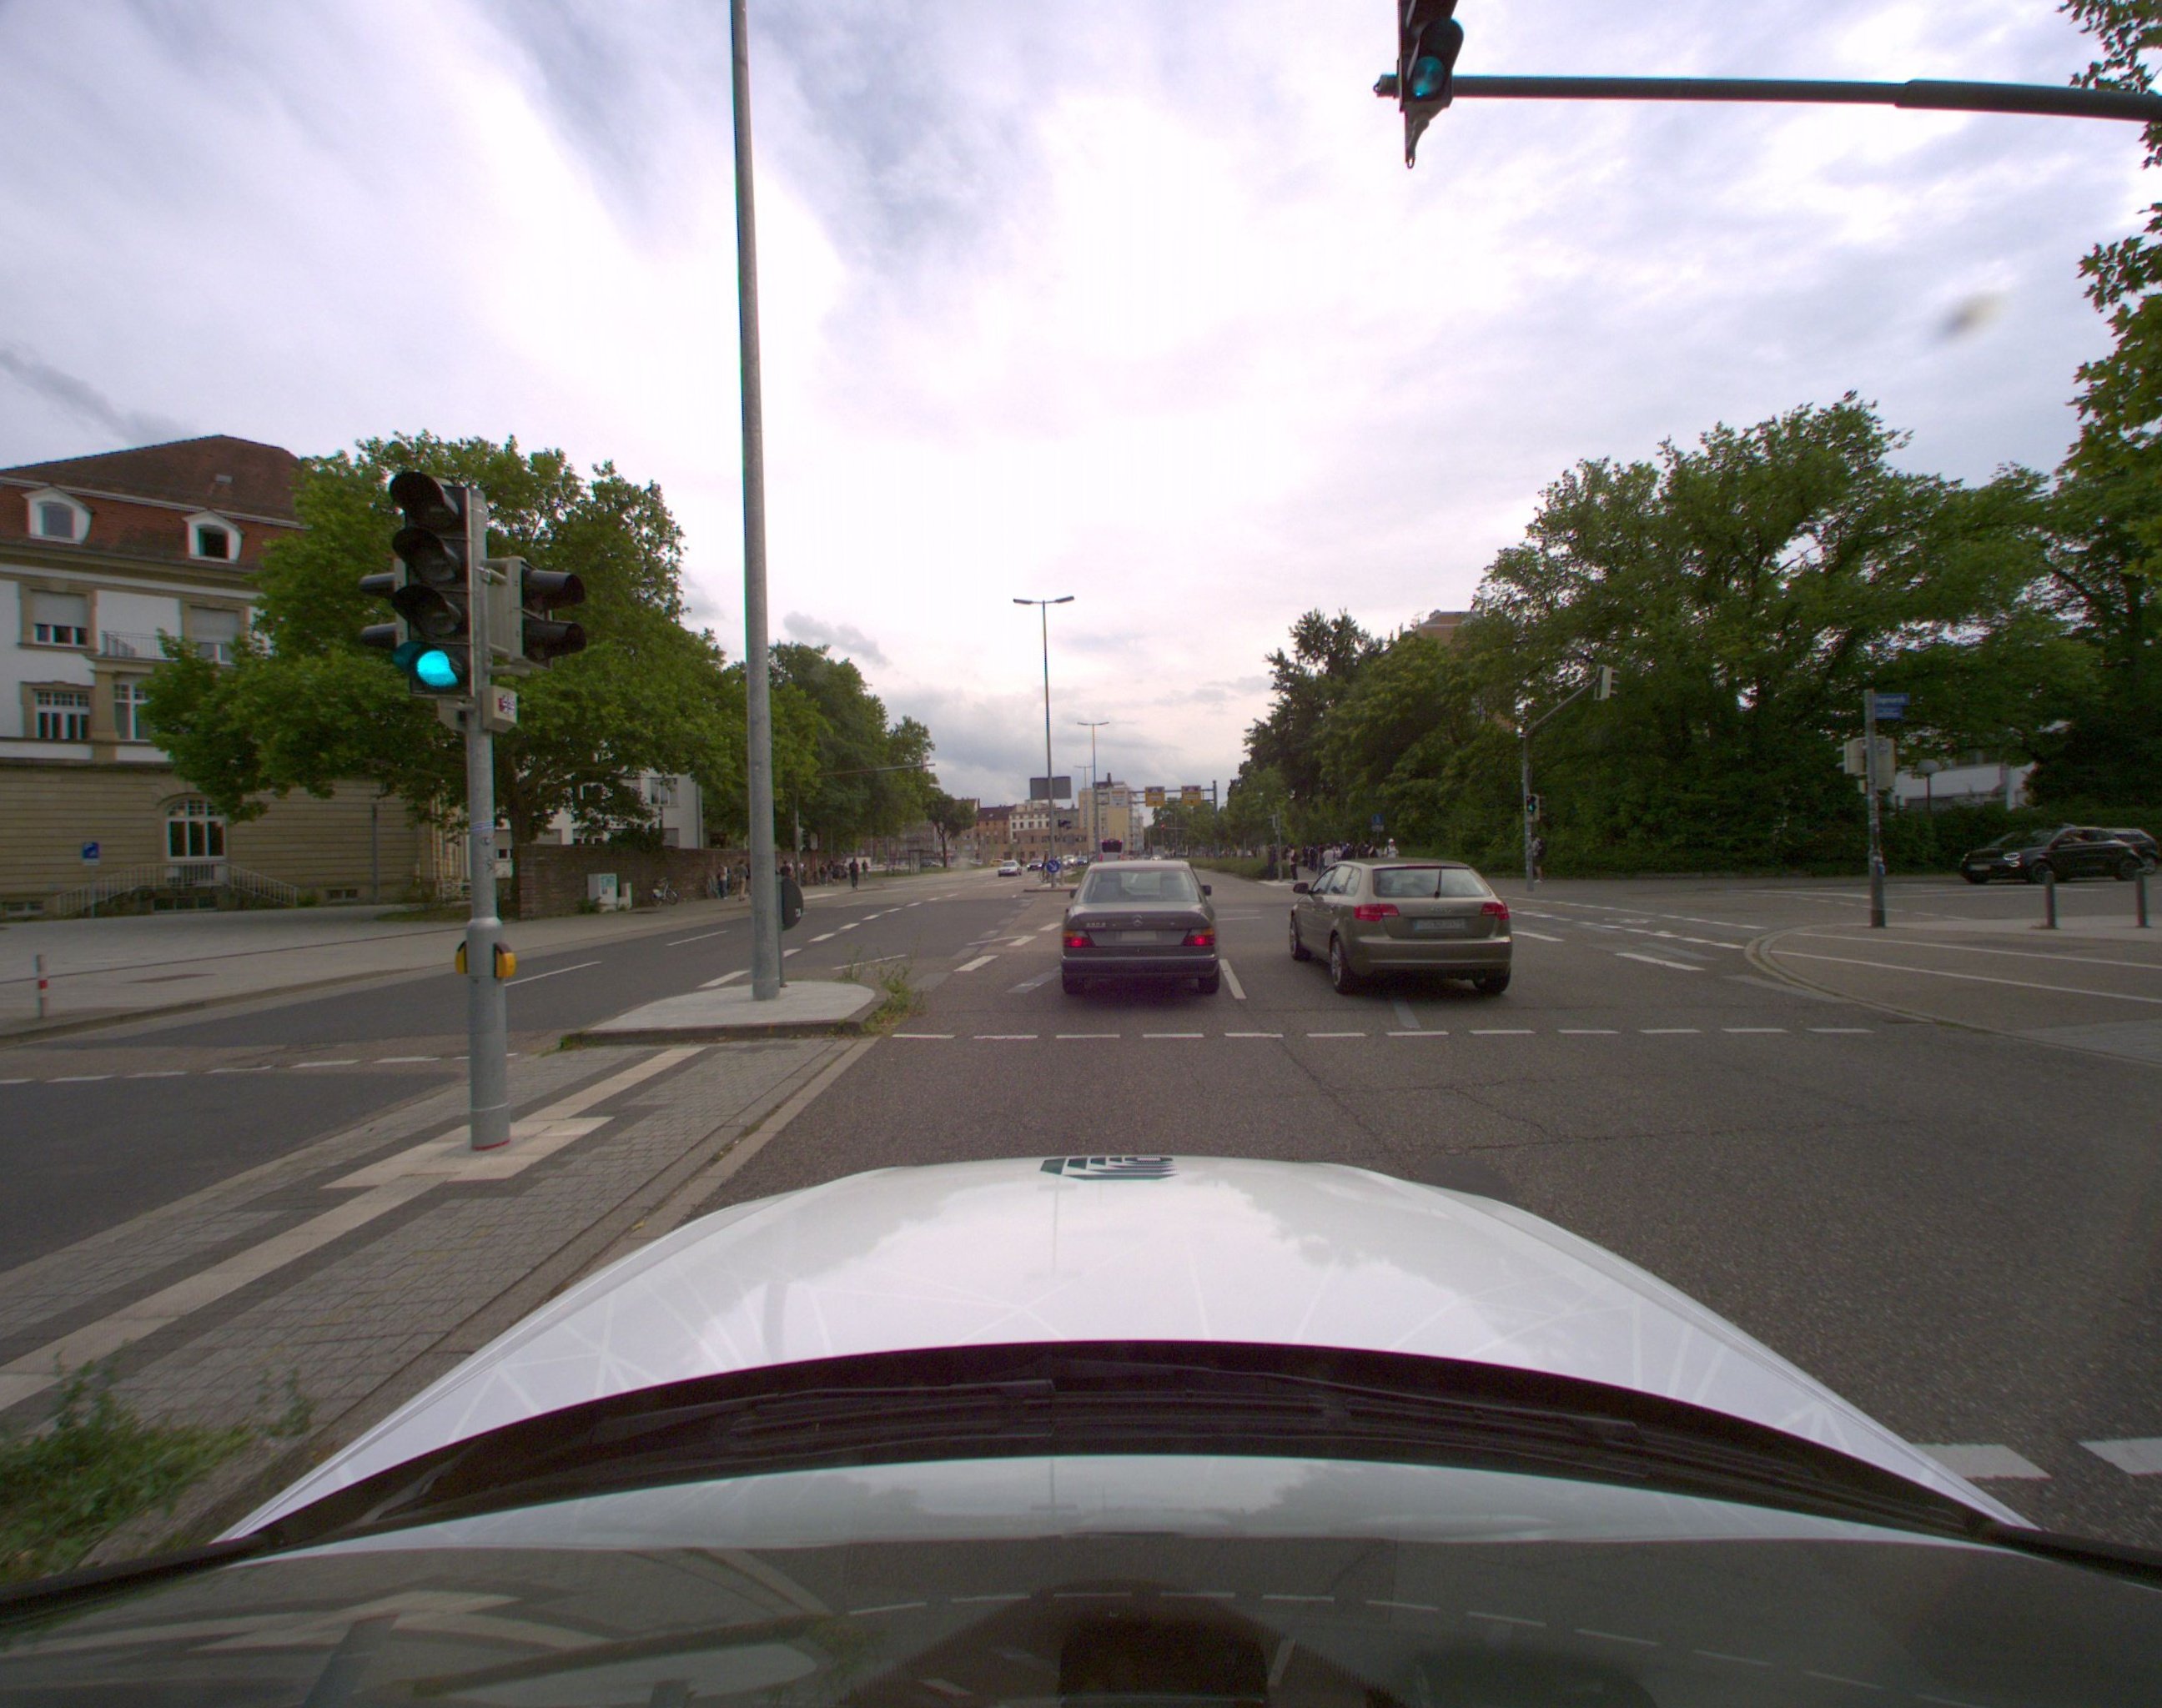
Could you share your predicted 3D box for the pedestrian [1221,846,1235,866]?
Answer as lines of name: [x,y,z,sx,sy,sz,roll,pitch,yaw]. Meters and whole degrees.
pedestrian: [14.165,0.182,78.491,0.925,1.830,0.892,-2,0,31]

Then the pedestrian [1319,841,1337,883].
pedestrian: [10.222,0.336,33.704,0.543,1.687,0.637,-2,0,2]

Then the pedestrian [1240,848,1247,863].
pedestrian: [18.476,0.167,92.605,0.641,1.713,0.564,-2,0,19]

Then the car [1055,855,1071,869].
car: [-2.156,0.935,95.967,1.796,1.489,4.286,-2,0,-1]

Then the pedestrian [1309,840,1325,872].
pedestrian: [13.763,0.097,47.528,0.653,1.821,0.813,-2,0,4]

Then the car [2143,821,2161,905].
car: [21.002,0.095,13.881,3.559,1.491,1.674,-2,-1,0]

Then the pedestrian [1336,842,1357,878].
pedestrian: [13.274,0.302,40.725,0.654,1.766,0.958,-4,0,2]

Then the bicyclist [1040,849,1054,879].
bicyclist: [-1.850,0.544,44.460,0.569,1.574,0.701,-2,0,8]

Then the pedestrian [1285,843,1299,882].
pedestrian: [9.702,0.392,37.423,0.452,1.735,0.637,-2,0,2]

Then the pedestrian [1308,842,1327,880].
pedestrian: [11.288,0.326,38.878,0.654,1.745,0.780,-2,0,2]

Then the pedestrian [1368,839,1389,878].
pedestrian: [13.476,0.196,36.887,0.654,1.745,0.780,-2,0,2]

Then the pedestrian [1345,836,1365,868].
pedestrian: [14.488,-0.096,43.073,0.654,1.667,0.972,-2,0,2]

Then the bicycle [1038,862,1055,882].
bicycle: [-1.876,0.962,44.306,0.570,1.055,1.930,-2,0,8]

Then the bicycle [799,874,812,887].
bicycle: [-18.175,1.726,53.687,0.440,0.797,1.618,0,1,-5]

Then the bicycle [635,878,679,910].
bicycle: [-16.457,1.544,31.669,0.575,1.126,2.164,1,0,0]

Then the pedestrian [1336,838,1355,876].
pedestrian: [12.715,0.145,39.160,0.579,1.745,0.790,-2,0,2]

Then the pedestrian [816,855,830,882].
pedestrian: [-17.114,0.950,54.018,0.762,1.782,0.777,-1,-2,-25]

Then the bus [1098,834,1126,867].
bus: [3.428,-0.347,90.213,2.820,3.390,8.187,-2,0,2]

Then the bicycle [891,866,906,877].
bicycle: [-17.194,1.623,76.810,0.467,0.918,2.347,-2,0,12]

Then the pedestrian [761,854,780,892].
pedestrian: [-14.746,0.907,38.701,0.763,1.782,0.777,-1,-2,-26]

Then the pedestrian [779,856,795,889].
pedestrian: [-16.395,1.049,45.379,0.762,1.782,0.907,-1,-2,-25]

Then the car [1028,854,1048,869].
car: [-5.113,0.887,97.509,1.890,1.616,4.747,-2,0,2]

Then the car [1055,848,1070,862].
car: [-2.852,0.221,124.121,1.933,2.013,4.003,-2,0,3]

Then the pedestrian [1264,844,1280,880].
pedestrian: [9.405,0.409,40.053,0.599,1.735,0.655,-2,0,2]

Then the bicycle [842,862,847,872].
bicycle: [-21.604,1.163,74.422,0.347,0.878,1.515,1,-1,-13]

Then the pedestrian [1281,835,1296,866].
pedestrian: [12.562,-0.209,49.329,0.689,1.821,0.955,-2,0,4]

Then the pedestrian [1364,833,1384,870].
pedestrian: [14.252,-0.121,39.616,0.654,1.745,0.780,-2,0,2]

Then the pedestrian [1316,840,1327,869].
pedestrian: [14.830,0.031,50.195,0.482,1.763,0.665,-2,0,4]

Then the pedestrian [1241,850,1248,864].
pedestrian: [17.790,0.304,88.780,0.654,1.470,0.562,-2,0,2]

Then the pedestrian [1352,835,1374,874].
pedestrian: [12.784,0.021,36.946,0.654,1.745,0.780,-2,0,2]

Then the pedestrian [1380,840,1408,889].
pedestrian: [11.928,0.390,31.088,0.645,1.852,0.826,-1,-1,-10]

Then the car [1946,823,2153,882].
car: [26.397,-0.026,22.289,3.558,1.442,1.684,-2,-1,1]

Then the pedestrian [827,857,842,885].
pedestrian: [-15.708,1.095,51.933,0.762,1.782,0.916,-1,-2,-25]

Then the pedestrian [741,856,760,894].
pedestrian: [-15.964,1.009,39.325,0.763,1.782,0.777,-1,-2,-28]

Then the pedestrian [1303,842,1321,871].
pedestrian: [13.134,0.141,46.309,0.772,1.602,0.813,-2,0,4]

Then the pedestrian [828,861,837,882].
pedestrian: [-18.898,1.339,61.851,0.588,1.592,0.731,-1,-2,-19]

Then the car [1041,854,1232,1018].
car: [0.651,0.780,9.763,1.754,1.489,4.175,-2,0,3]

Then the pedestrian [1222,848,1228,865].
pedestrian: [17.032,0.255,96.243,0.611,2.013,0.598,-2,0,3]

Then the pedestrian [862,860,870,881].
pedestrian: [-17.371,1.322,65.687,0.560,1.668,0.624,-1,-2,-13]

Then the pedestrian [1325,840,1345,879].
pedestrian: [11.579,0.249,37.110,0.622,1.745,0.780,-2,0,2]

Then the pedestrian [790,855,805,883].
pedestrian: [-17.280,0.906,49.636,0.762,1.670,0.917,-1,2,-25]

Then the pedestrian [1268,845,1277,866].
pedestrian: [15.738,0.096,66.923,0.584,1.683,0.749,-2,0,4]

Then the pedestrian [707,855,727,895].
pedestrian: [-16.694,0.976,37.317,0.749,1.782,0.776,-1,-2,-31]

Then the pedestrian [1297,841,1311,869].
pedestrian: [13.860,0.062,50.617,0.616,1.735,0.815,-2,0,4]

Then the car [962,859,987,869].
car: [-18.661,1.718,142.902,4.143,1.649,1.645,-2,0,-2]

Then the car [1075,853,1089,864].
car: [0.191,0.672,117.400,1.794,1.511,4.107,-2,0,3]

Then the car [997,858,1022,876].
car: [-6.648,1.179,75.799,1.755,1.489,4.547,-2,0,1]

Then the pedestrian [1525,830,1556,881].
pedestrian: [16.685,0.057,29.591,0.642,1.795,0.740,-2,0,2]

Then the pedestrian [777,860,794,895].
pedestrian: [-15.061,1.197,41.483,0.762,1.782,0.777,-1,-2,-25]

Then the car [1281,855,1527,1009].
car: [3.623,0.774,9.874,1.716,1.457,3.740,-2,0,4]

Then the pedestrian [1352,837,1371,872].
pedestrian: [13.976,0.023,40.591,0.654,1.699,0.780,-2,0,2]

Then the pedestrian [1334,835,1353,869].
pedestrian: [13.597,-0.095,42.226,0.654,1.689,0.842,-2,0,2]

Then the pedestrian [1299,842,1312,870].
pedestrian: [13.418,0.106,48.754,0.553,1.655,0.754,-2,0,4]

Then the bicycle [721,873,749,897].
bicycle: [-16.958,1.502,39.942,0.547,1.058,1.979,1,0,-2]

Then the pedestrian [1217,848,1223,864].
pedestrian: [17.334,0.252,101.393,0.611,2.013,0.598,-2,0,3]

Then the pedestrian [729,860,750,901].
pedestrian: [-14.948,1.156,35.610,0.749,1.782,0.776,-1,-2,-29]

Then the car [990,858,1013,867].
car: [-13.538,1.485,138.904,3.845,1.517,1.660,-1,0,-1]

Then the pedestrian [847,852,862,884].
pedestrian: [-12.956,0.807,46.550,0.761,1.782,0.717,-1,-2,-20]

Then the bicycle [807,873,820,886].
bicycle: [-18.364,1.732,55.941,0.440,0.797,1.618,0,1,-5]

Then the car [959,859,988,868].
car: [-18.337,1.623,138.900,4.655,1.475,1.660,0,0,-1]
